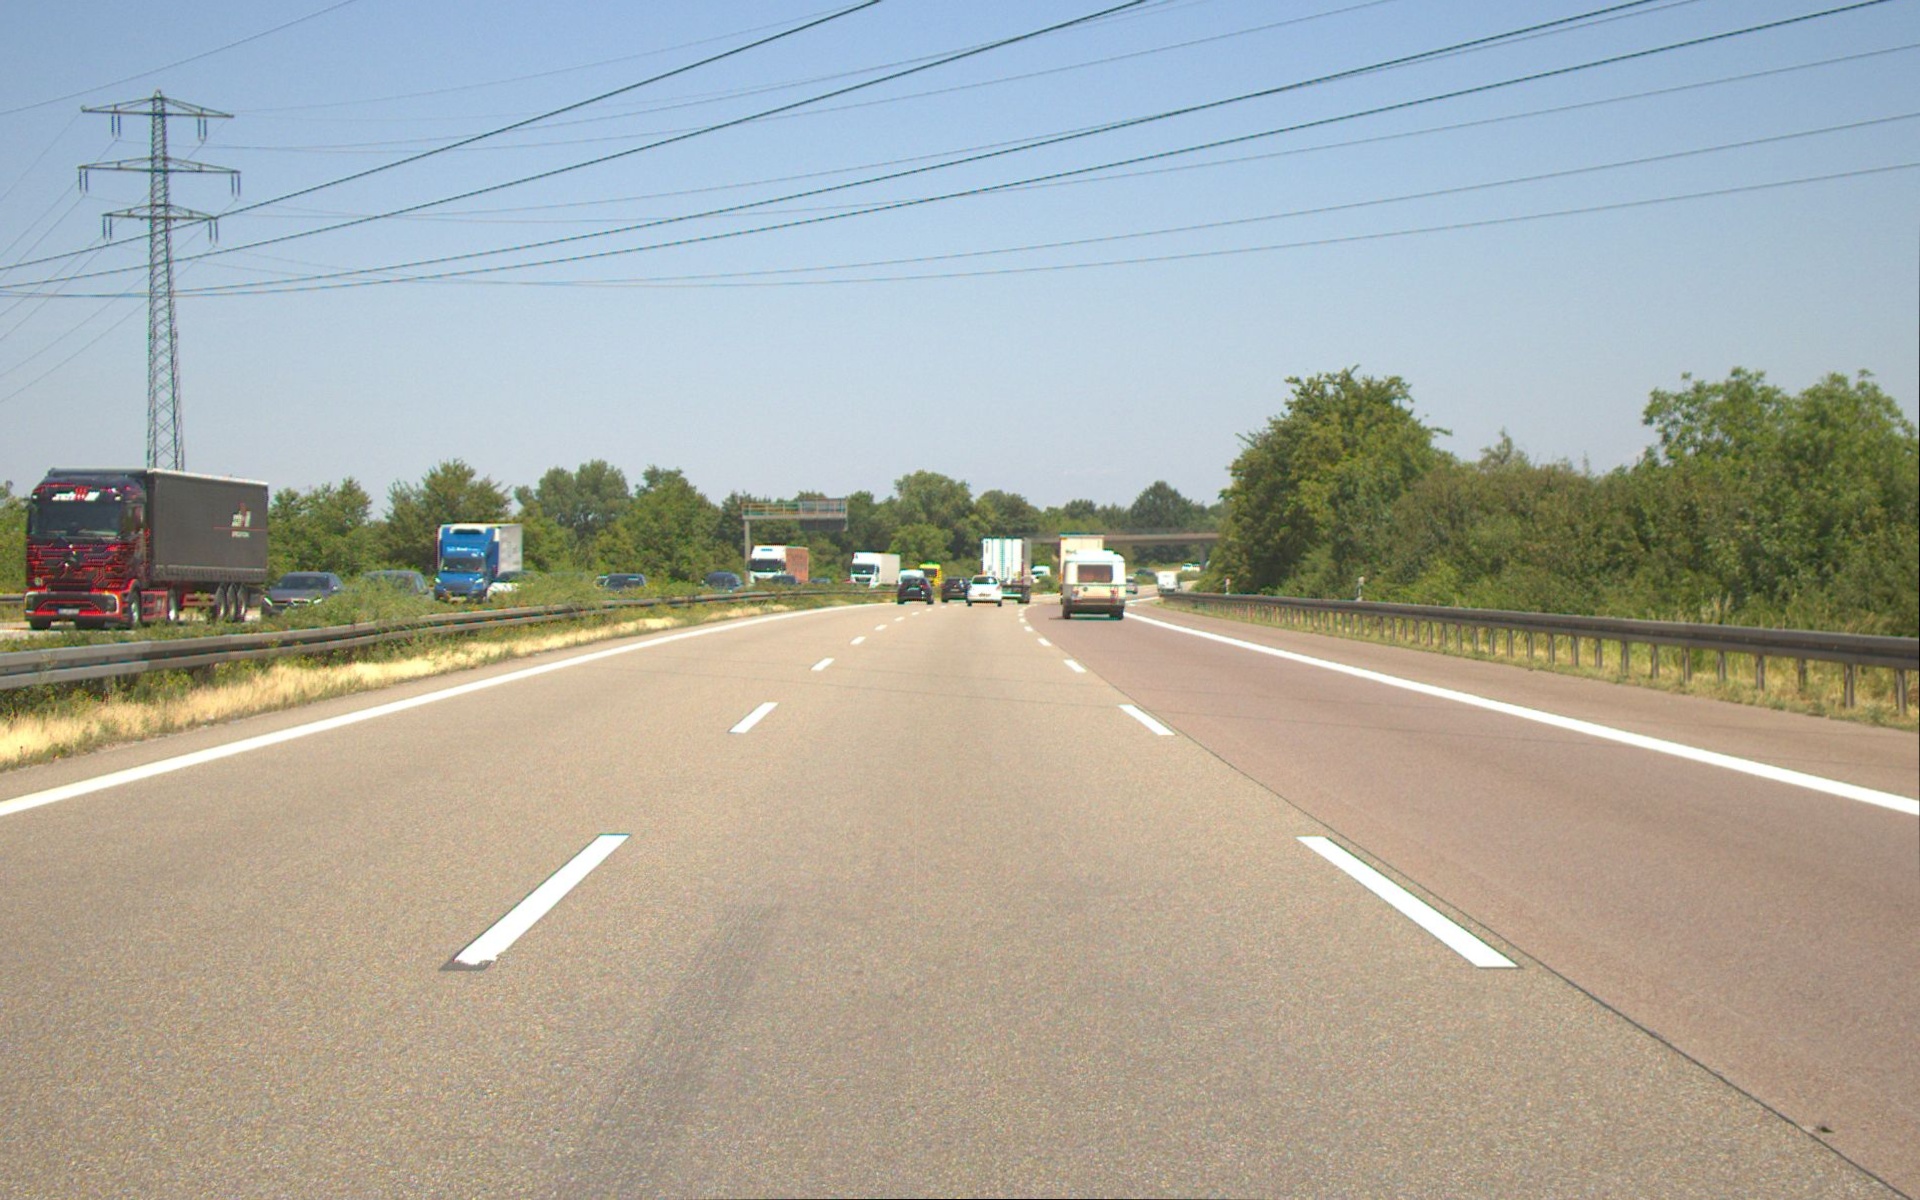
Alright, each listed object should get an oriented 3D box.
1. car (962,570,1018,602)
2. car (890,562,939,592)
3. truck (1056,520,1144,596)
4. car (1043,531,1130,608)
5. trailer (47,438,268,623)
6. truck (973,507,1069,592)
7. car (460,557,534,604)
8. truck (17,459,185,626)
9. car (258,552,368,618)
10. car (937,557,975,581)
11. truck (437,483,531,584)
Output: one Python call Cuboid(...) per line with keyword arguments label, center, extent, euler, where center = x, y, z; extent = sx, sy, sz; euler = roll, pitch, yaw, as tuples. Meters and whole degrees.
Cuboid(label="car", center=(1.488, -0.699, 168.505), extent=(1.829, 1.542, 4.316), euler=(1, 1, 14))
Cuboid(label="car", center=(-2.361, -1.212, 180.993), extent=(1.828, 1.542, 4.317), euler=(1, 1, 9))
Cuboid(label="truck", center=(8.489, -2.598, 206.387), extent=(3.182, 4.289, 16.011), euler=(1, 1, 10))
Cuboid(label="car", center=(3.981, -0.998, 109.365), extent=(2.442, 2.313, 5.322), euler=(-1, 2, -1))
Cuboid(label="trailer", center=(-21.222, -1.890, 91.874), extent=(2.648, 4.536, 13.866), euler=(1, 1, 0))
Cuboid(label="truck", center=(3.883, -3.197, 213.633), extent=(3.668, 5.001, 16.012), euler=(1, 1, 9))
Cuboid(label="car", center=(-16.842, -0.730, 125.154), extent=(1.993, 1.612, 5.017), euler=(1, 1, 0))
Cuboid(label="truck", center=(-21.216, -1.449, 85.167), extent=(2.648, 3.969, 5.992), euler=(1, 1, 0))
Cuboid(label="car", center=(-17.004, -0.415, 90.562), extent=(1.944, 1.612, 5.017), euler=(1, 1, 0))
Cuboid(label="car", center=(-0.254, -2.030, 224.674), extent=(1.828, 1.542, 4.317), euler=(1, 1, 9))
Cuboid(label="truck", center=(-19.777, -2.792, 143.340), extent=(2.453, 3.962, 9.672), euler=(-2, 1, 0))
